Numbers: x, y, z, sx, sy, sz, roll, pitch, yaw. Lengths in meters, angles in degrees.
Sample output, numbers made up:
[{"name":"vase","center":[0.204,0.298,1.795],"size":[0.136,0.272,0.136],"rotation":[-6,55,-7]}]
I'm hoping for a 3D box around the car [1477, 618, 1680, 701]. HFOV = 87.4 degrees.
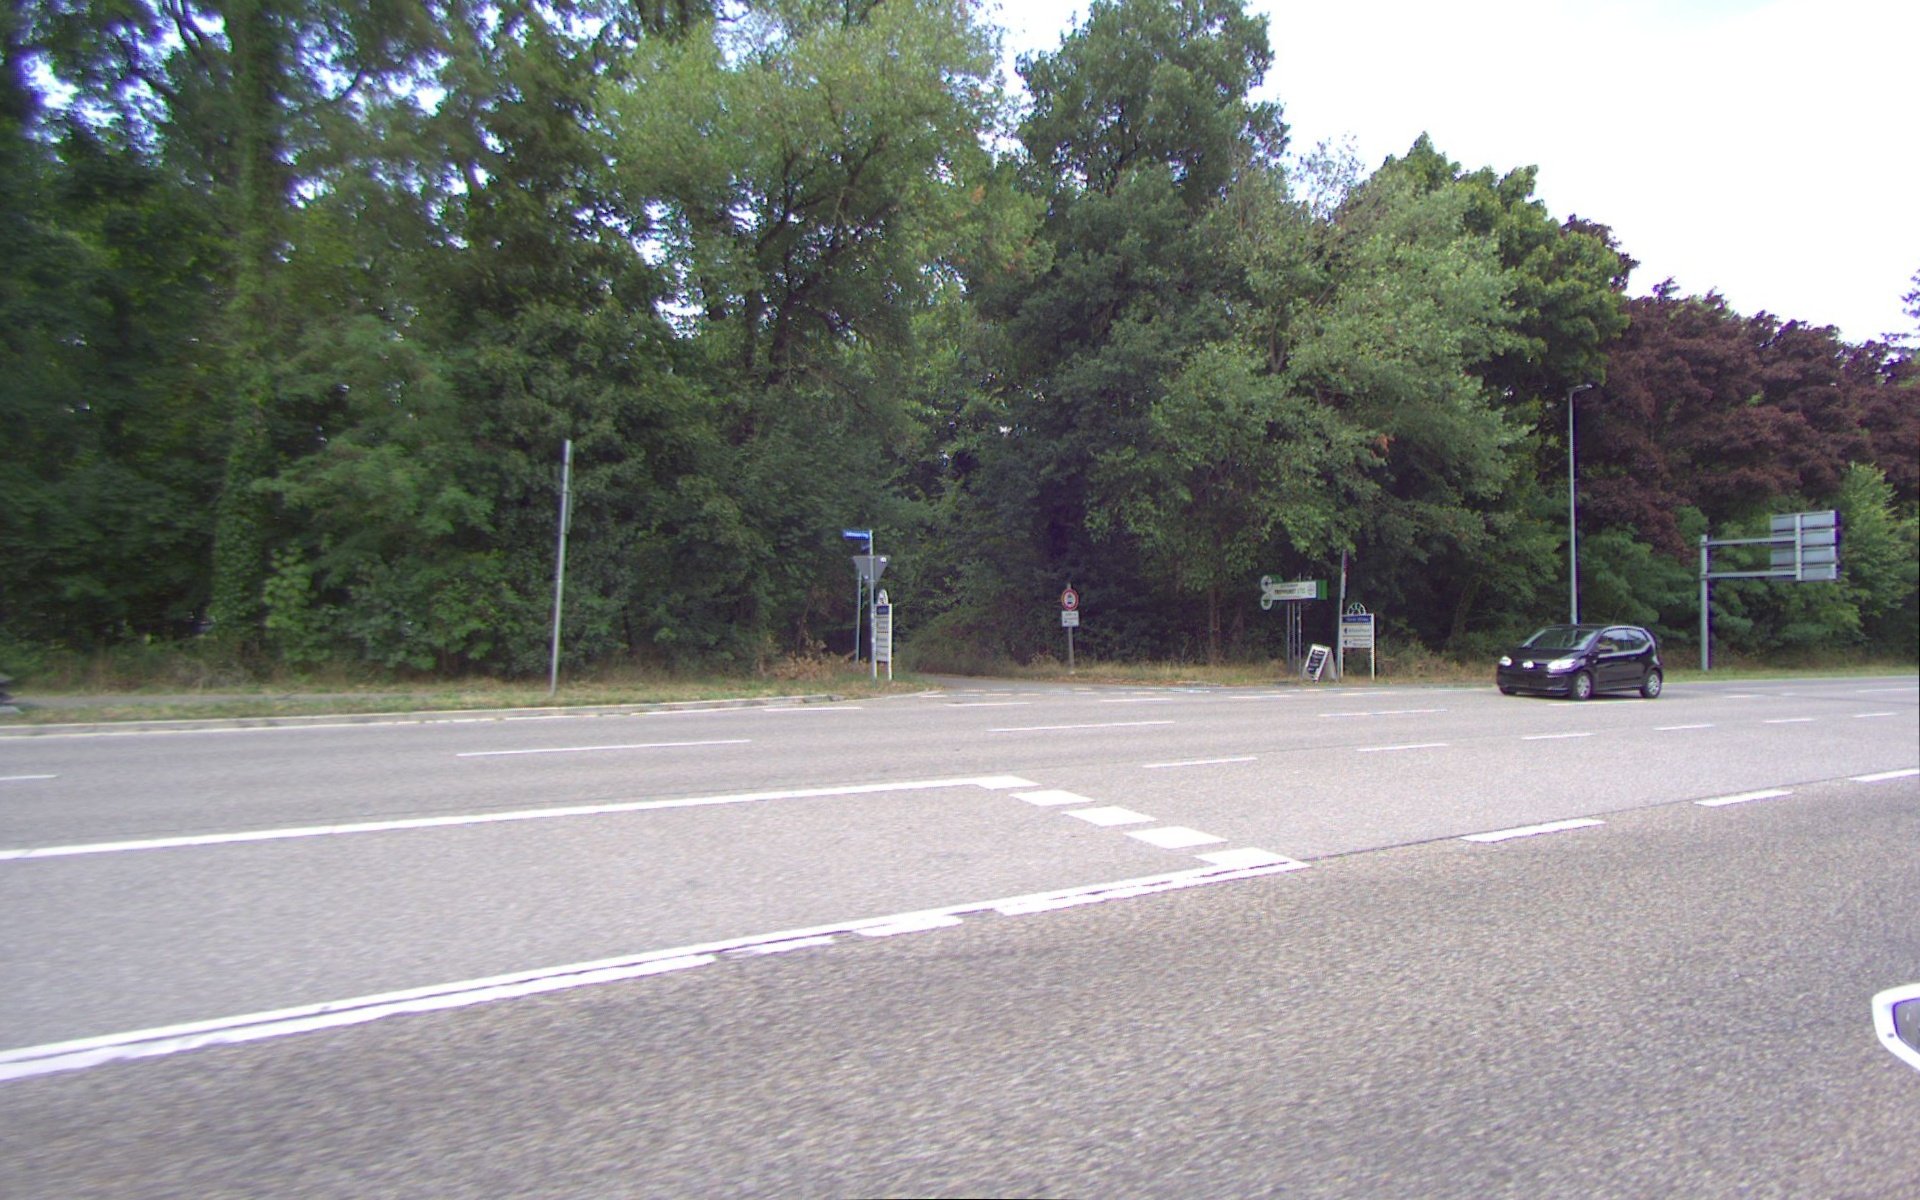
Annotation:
[{"name":"car","center":[12.438,1.170,20.183],"size":[3.951,1.495,1.734],"rotation":[2,0,-29]}]
